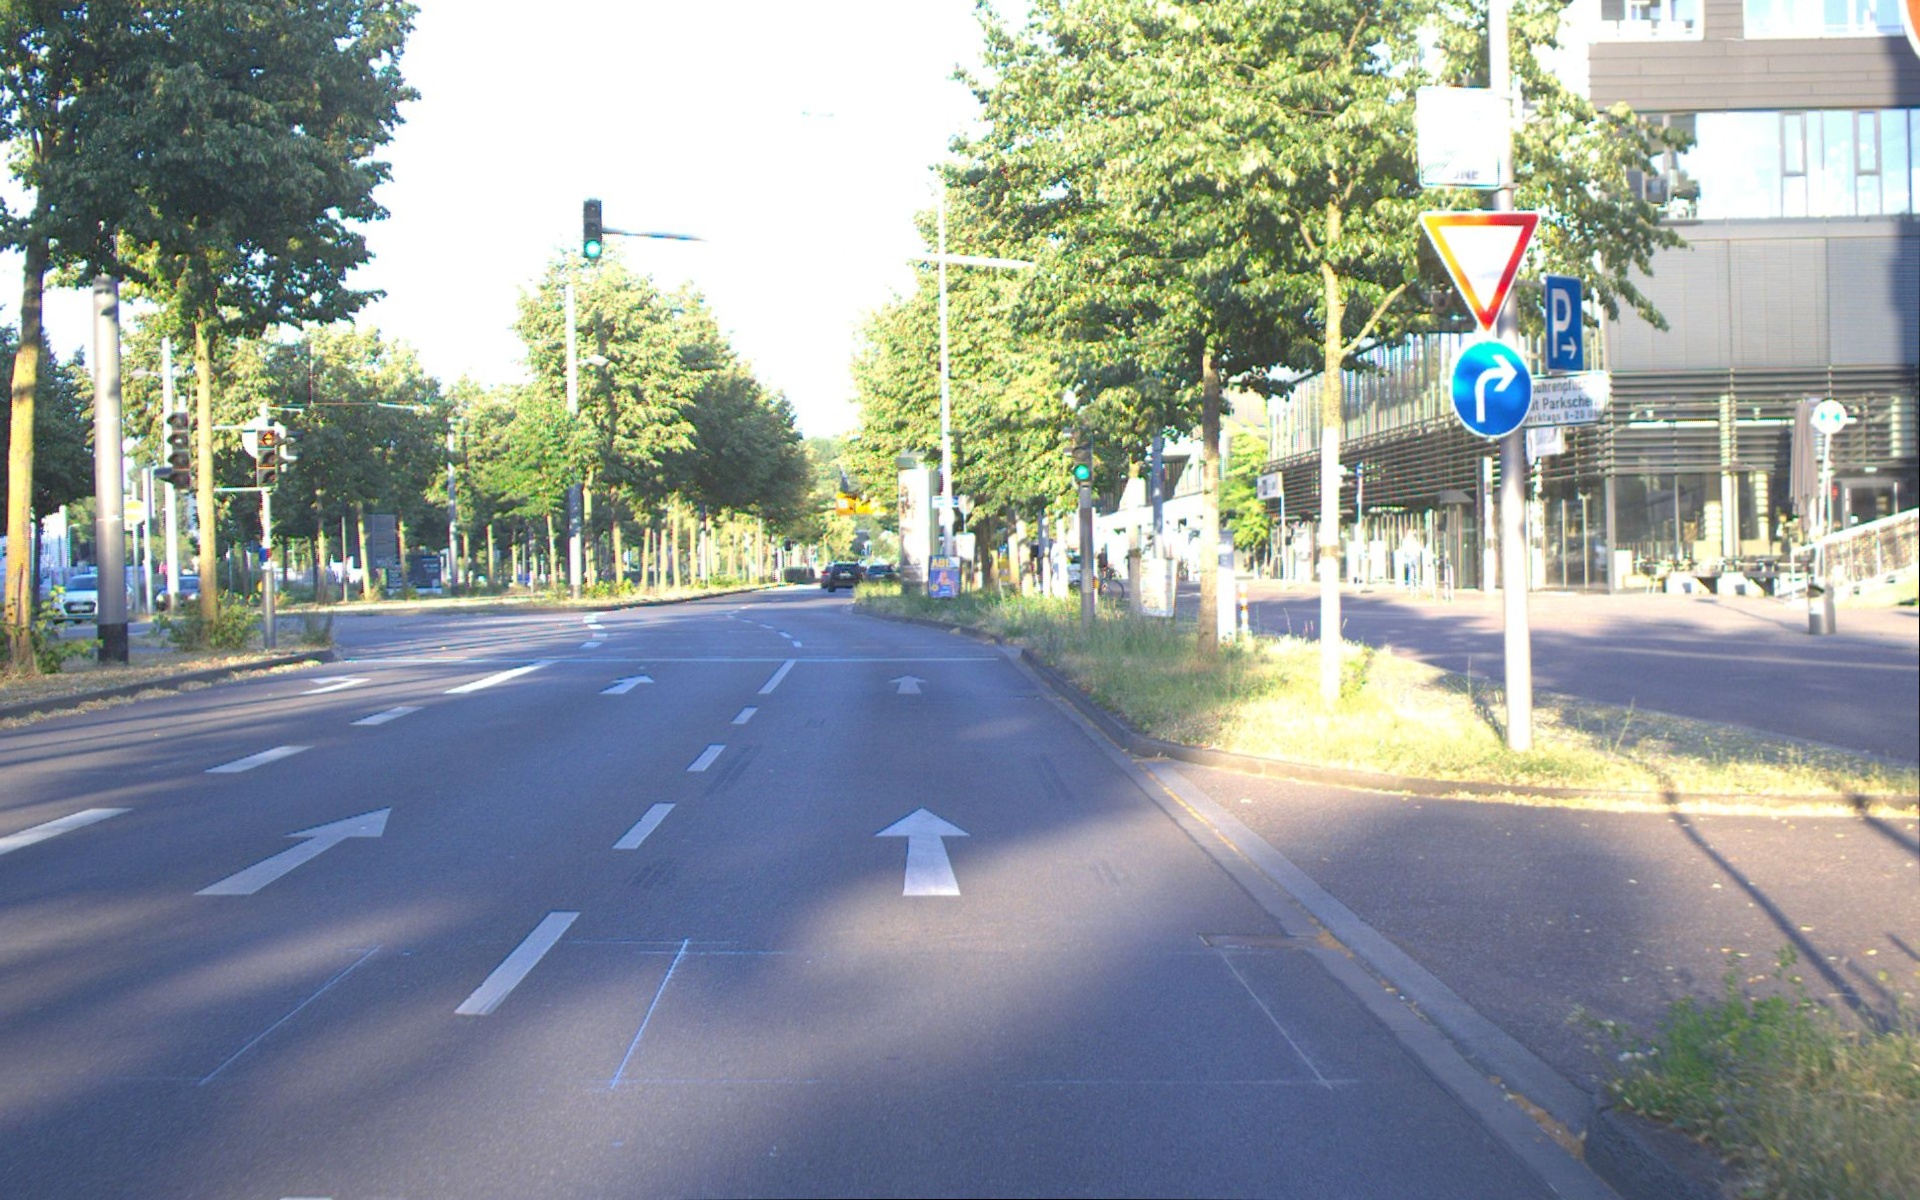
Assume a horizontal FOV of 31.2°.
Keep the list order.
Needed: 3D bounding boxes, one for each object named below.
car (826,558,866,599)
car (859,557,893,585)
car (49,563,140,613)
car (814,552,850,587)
[{"bbox_3d":[-5.828,-1.097,176.413,1.993,2.007,4.001,-1,1,-2],"label":"car"},{"bbox_3d":[-4.897,-1.696,200.589,1.872,1.568,3.677,-1,1,0],"label":"car"},{"bbox_3d":[-24.366,-0.351,96.891,1.786,1.327,3.672,-1,1,-3],"label":"car"},{"bbox_3d":[-7.713,-1.867,207.570,2.087,2.007,4.001,-1,1,-2],"label":"car"}]
